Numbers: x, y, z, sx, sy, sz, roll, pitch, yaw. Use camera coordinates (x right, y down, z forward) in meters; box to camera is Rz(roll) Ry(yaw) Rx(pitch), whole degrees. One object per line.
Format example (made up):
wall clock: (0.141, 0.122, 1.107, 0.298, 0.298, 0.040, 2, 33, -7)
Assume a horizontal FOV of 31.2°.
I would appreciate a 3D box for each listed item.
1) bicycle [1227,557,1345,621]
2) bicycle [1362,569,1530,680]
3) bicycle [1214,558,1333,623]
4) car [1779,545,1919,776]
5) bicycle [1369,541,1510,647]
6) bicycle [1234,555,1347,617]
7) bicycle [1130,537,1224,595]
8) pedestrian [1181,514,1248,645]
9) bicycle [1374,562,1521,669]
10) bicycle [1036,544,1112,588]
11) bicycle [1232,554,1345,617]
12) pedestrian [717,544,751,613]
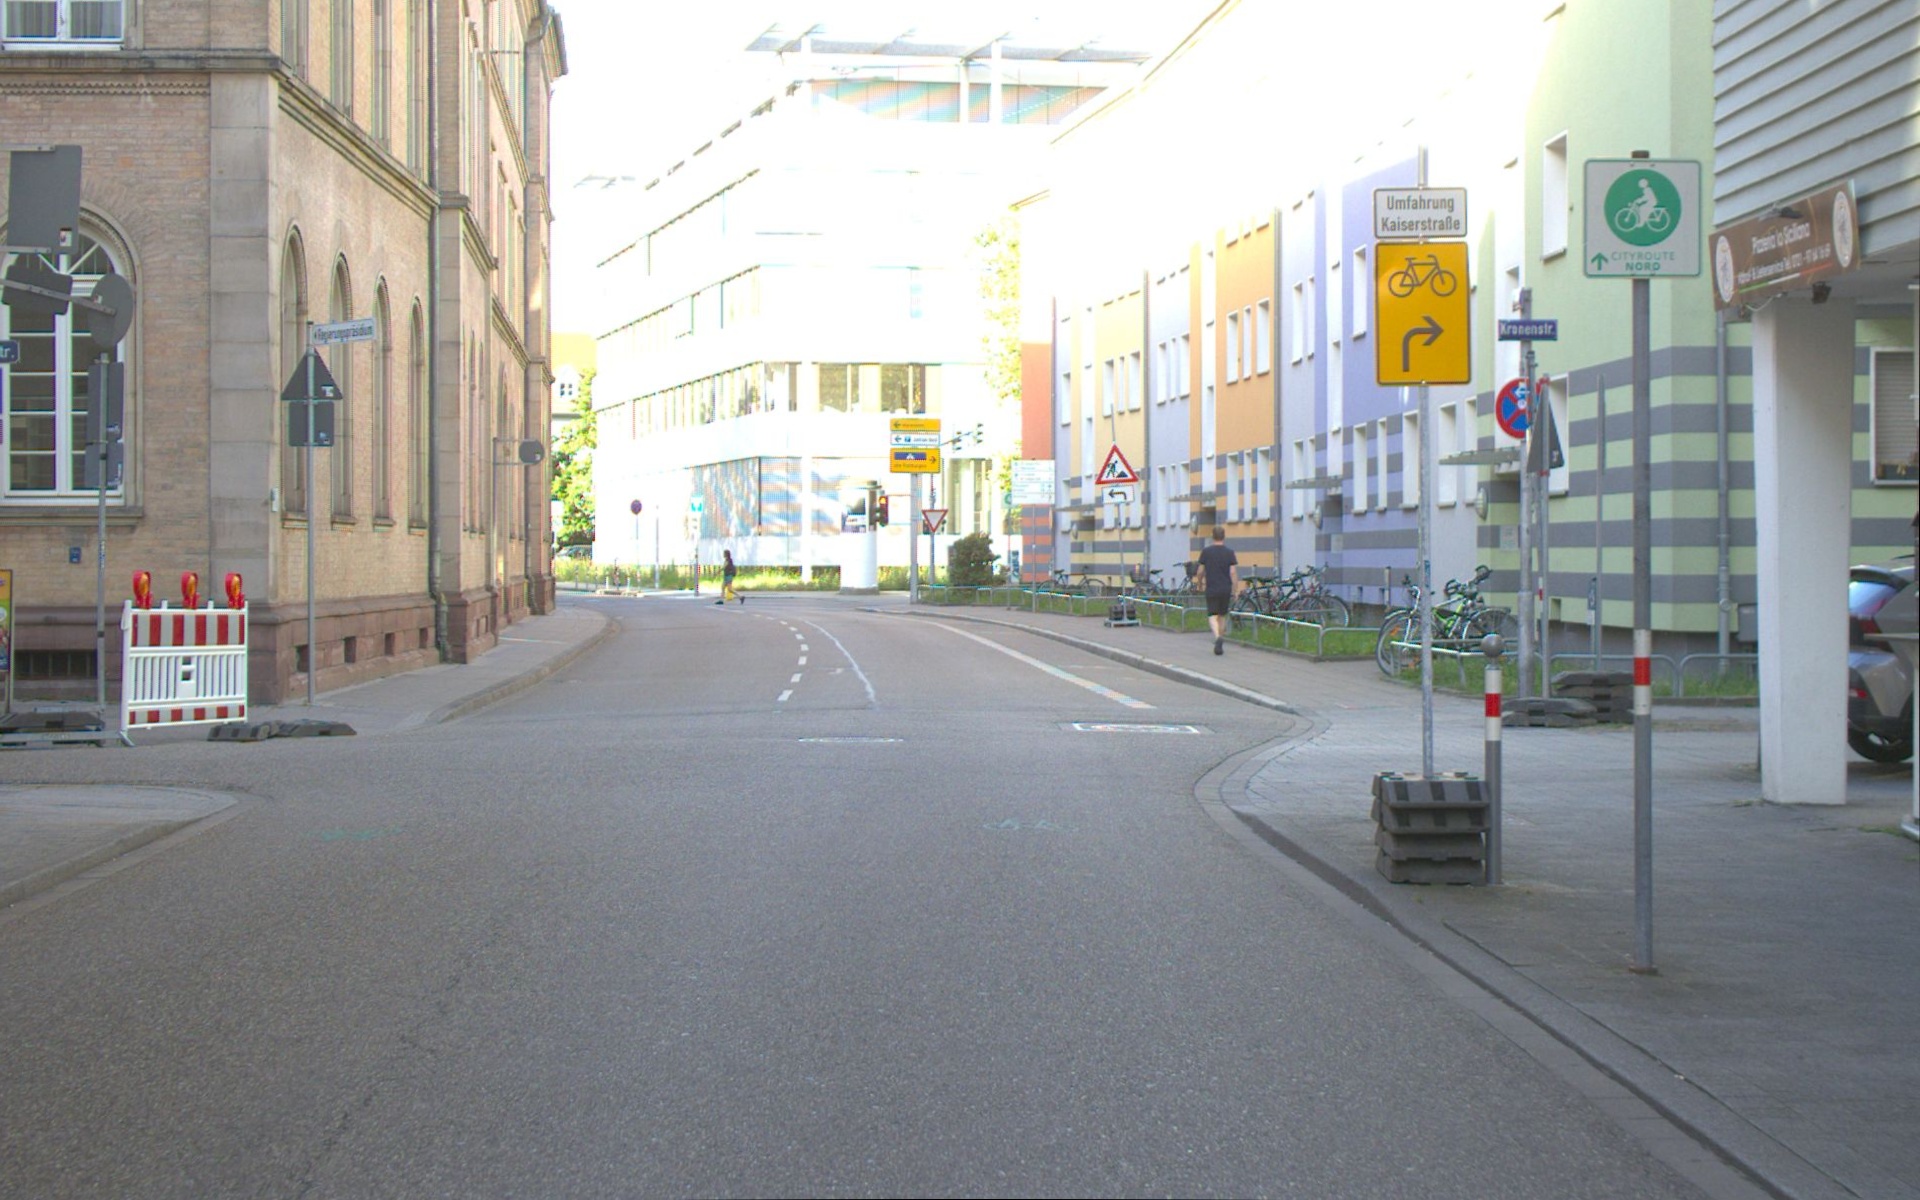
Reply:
bicycle: (5.098, -0.176, 53.778, 1.748, 0.943, 0.552, -1, 1, -3)
bicycle: (5.510, 0.273, 39.017, 1.748, 1.137, 0.552, -4, 2, -3)
bicycle: (4.823, -0.145, 52.907, 1.748, 0.943, 0.552, -1, 1, -3)
car: (7.826, 0.358, 23.271, 4.078, 1.477, 1.866, -1, 1, -3)
bicycle: (5.675, -0.073, 40.676, 1.602, 1.137, 0.237, -4, 2, -11)
bicycle: (5.303, -0.227, 55.144, 1.748, 0.943, 0.335, -1, 1, -3)
bicycle: (4.393, -0.693, 69.642, 1.810, 1.133, 0.552, -1, 1, -4)
pedestrian: (3.527, -0.299, 47.644, 0.696, 1.754, 1.189, -3, 1, -3)
bicycle: (5.733, 0.182, 40.422, 1.640, 1.137, 0.283, -4, 2, -11)
bicycle: (2.777, -0.826, 83.750, 1.753, 1.000, 0.613, -2, 1, -8)
bicycle: (5.215, -0.230, 54.620, 1.748, 0.943, 0.326, -1, 1, -2)
pedestrian: (-6.683, -0.643, 101.695, 0.895, 2.007, 0.753, -1, 1, -11)
